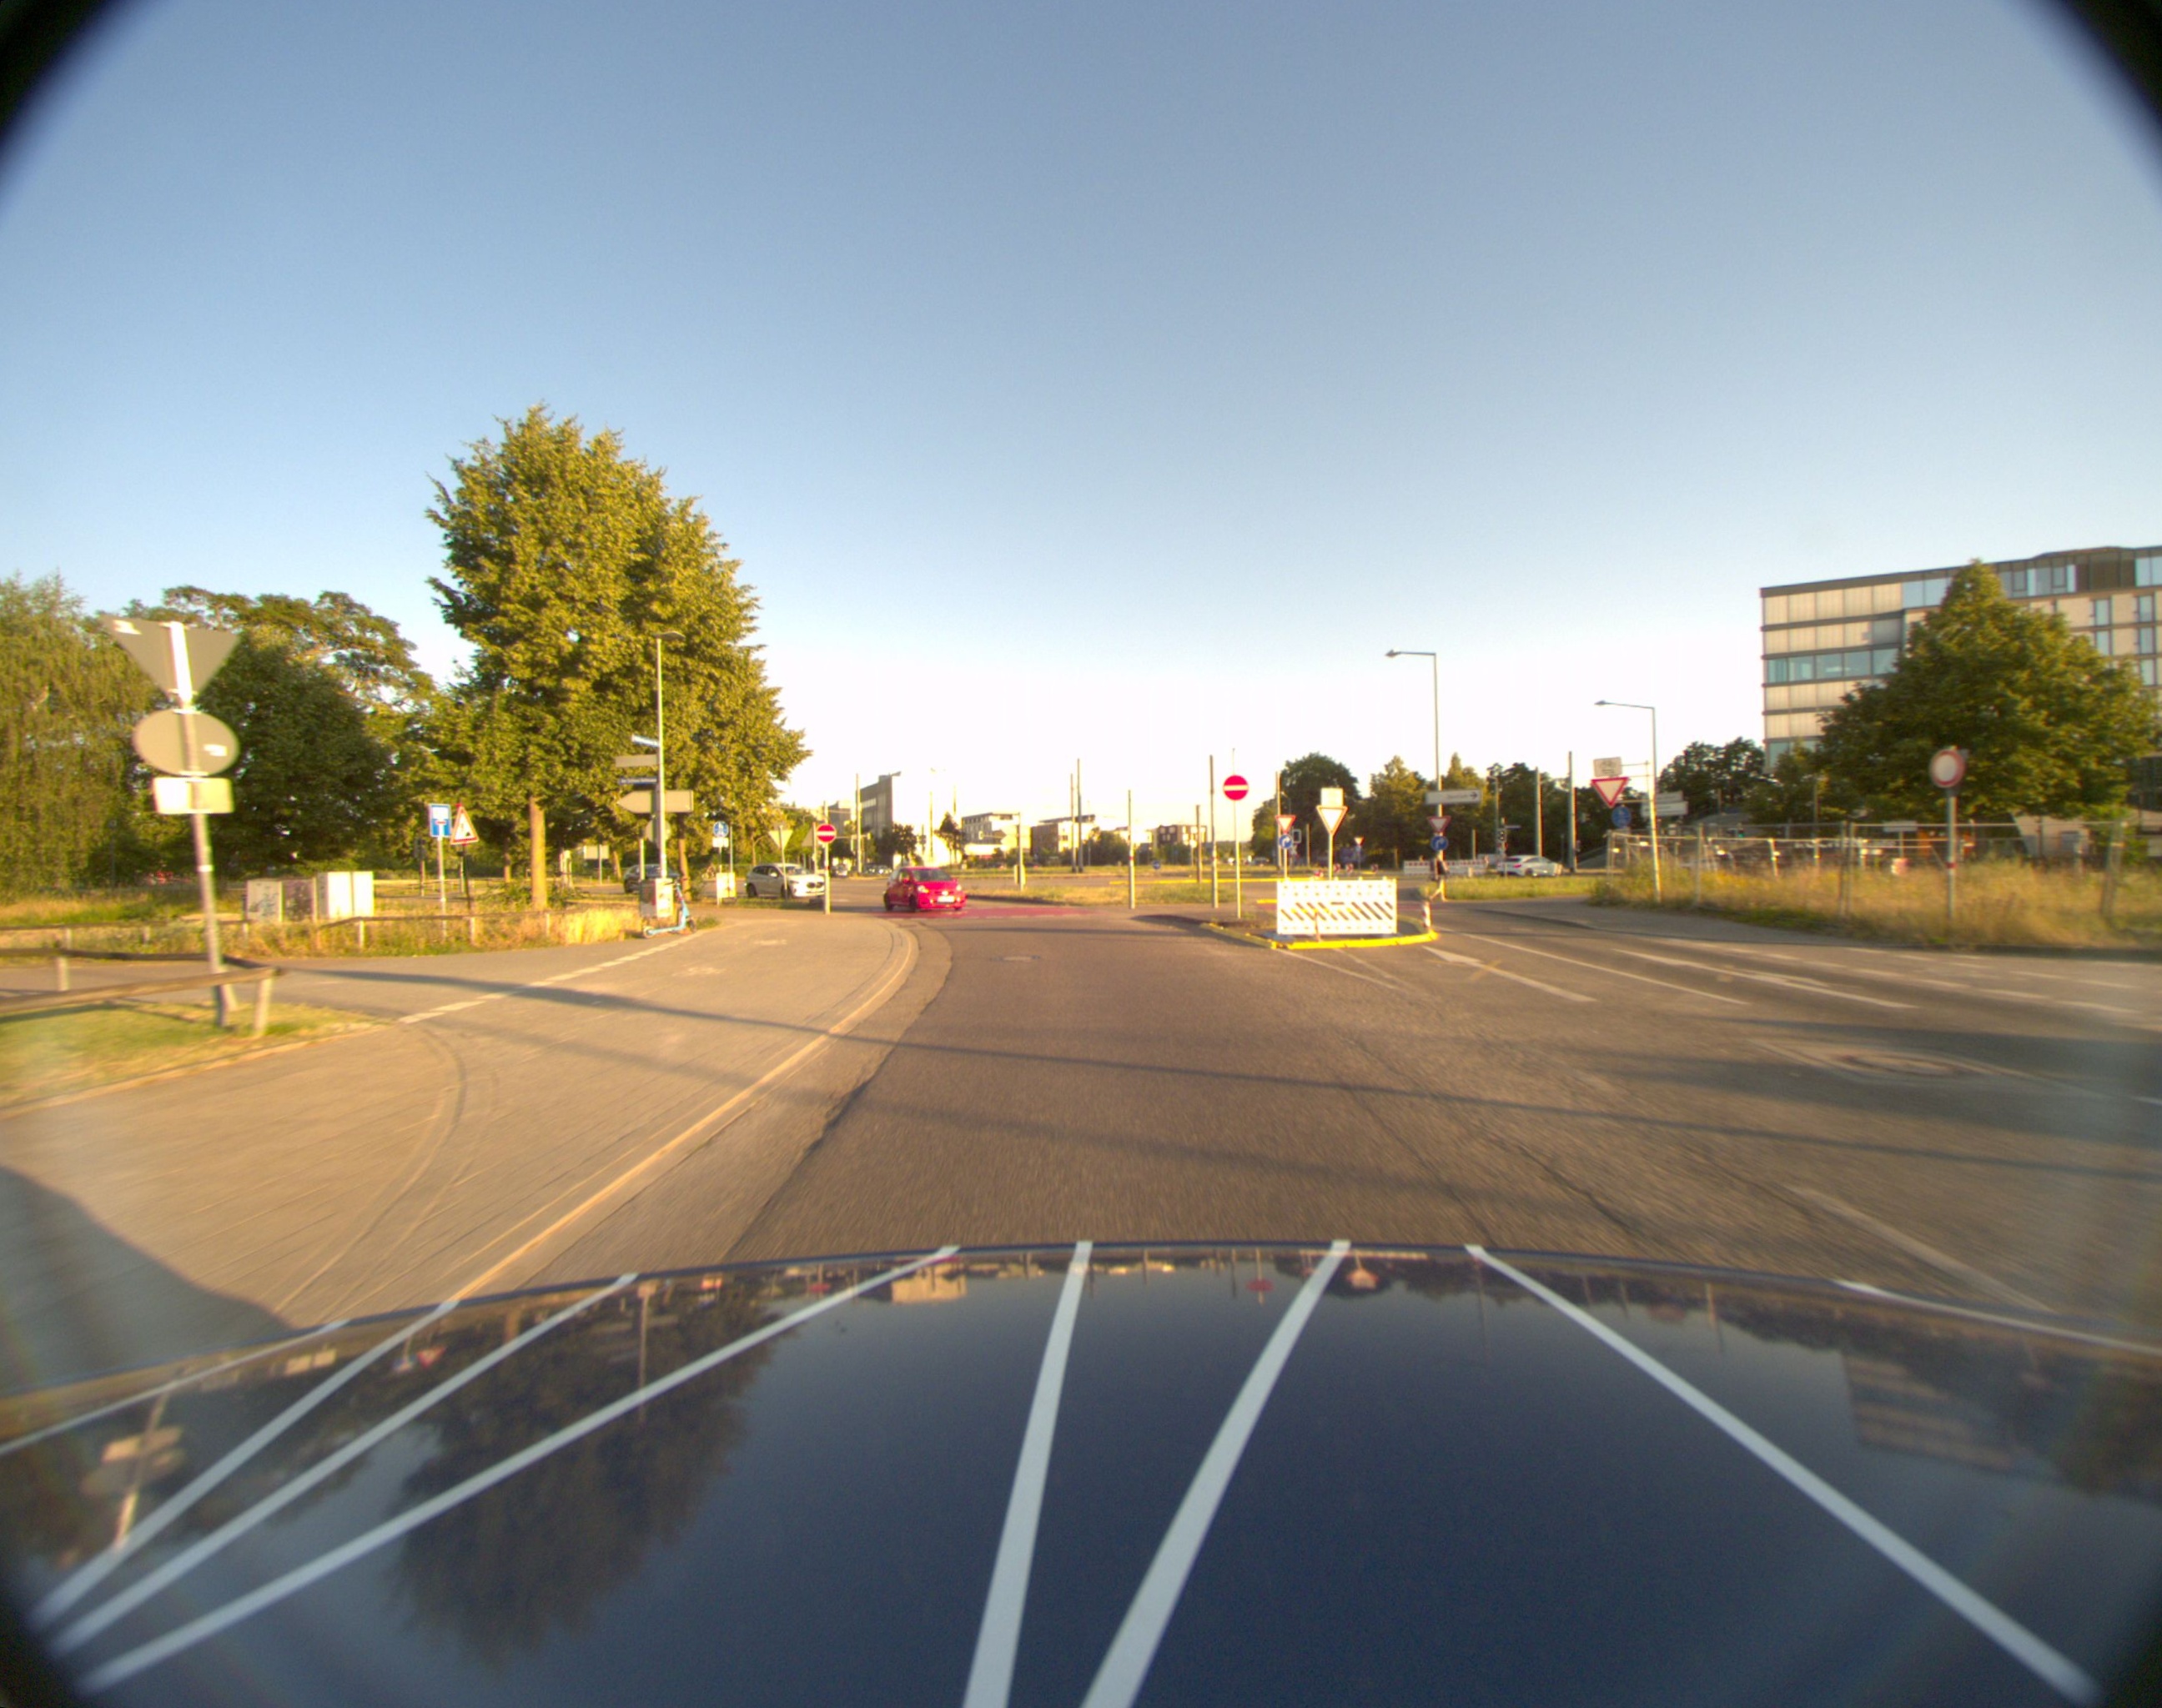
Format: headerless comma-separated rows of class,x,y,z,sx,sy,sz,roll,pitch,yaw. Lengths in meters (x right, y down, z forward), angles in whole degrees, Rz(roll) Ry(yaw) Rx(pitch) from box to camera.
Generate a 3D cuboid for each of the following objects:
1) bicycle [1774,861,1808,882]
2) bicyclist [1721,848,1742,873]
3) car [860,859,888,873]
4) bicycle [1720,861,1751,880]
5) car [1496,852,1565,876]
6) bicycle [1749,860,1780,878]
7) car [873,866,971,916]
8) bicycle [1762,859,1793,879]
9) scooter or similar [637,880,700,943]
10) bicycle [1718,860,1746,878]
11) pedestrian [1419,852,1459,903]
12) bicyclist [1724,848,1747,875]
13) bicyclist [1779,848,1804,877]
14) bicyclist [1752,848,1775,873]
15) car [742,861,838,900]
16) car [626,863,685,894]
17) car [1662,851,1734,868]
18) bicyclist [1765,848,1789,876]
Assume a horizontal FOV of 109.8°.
bicycle,37.043,0.897,39.658,0.699,1.038,2.083,0,0,26
bicyclist,39.492,0.390,46.138,0.699,1.482,0.975,0,1,22
car,-19.324,1.131,70.910,1.623,1.243,3.804,-1,0,-29
bicycle,37.389,0.909,43.420,0.699,1.038,2.082,0,0,22
car,28.320,0.613,47.855,4.004,1.455,1.628,-1,0,-22
bicycle,40.269,0.871,44.787,0.699,1.038,2.082,0,0,22
car,-5.303,1.133,24.874,1.622,1.405,4.399,-2,1,-33
bicycle,38.436,0.830,41.963,0.699,1.038,2.083,0,0,26
scooter or similar,-8.767,1.205,16.183,0.196,1.229,1.167,-1,1,35
bicycle,39.486,0.881,46.110,0.699,1.038,2.082,0,0,22
pedestrian,12.172,0.794,25.827,0.927,1.685,0.786,0,0,-12
bicyclist,37.384,0.419,43.397,0.699,1.482,0.975,0,1,22
bicyclist,37.021,0.425,39.607,0.699,1.482,0.976,0,1,26
bicyclist,40.298,0.380,44.870,0.699,1.482,0.975,0,1,22
car,-13.038,1.164,33.966,4.397,1.548,1.795,-1,1,35
car,-23.264,1.316,41.480,1.795,1.548,4.397,-2,1,-42
car,54.248,0.504,66.889,4.583,1.413,1.824,0,0,17
bicyclist,38.452,0.434,41.994,0.699,1.482,0.976,0,1,26
